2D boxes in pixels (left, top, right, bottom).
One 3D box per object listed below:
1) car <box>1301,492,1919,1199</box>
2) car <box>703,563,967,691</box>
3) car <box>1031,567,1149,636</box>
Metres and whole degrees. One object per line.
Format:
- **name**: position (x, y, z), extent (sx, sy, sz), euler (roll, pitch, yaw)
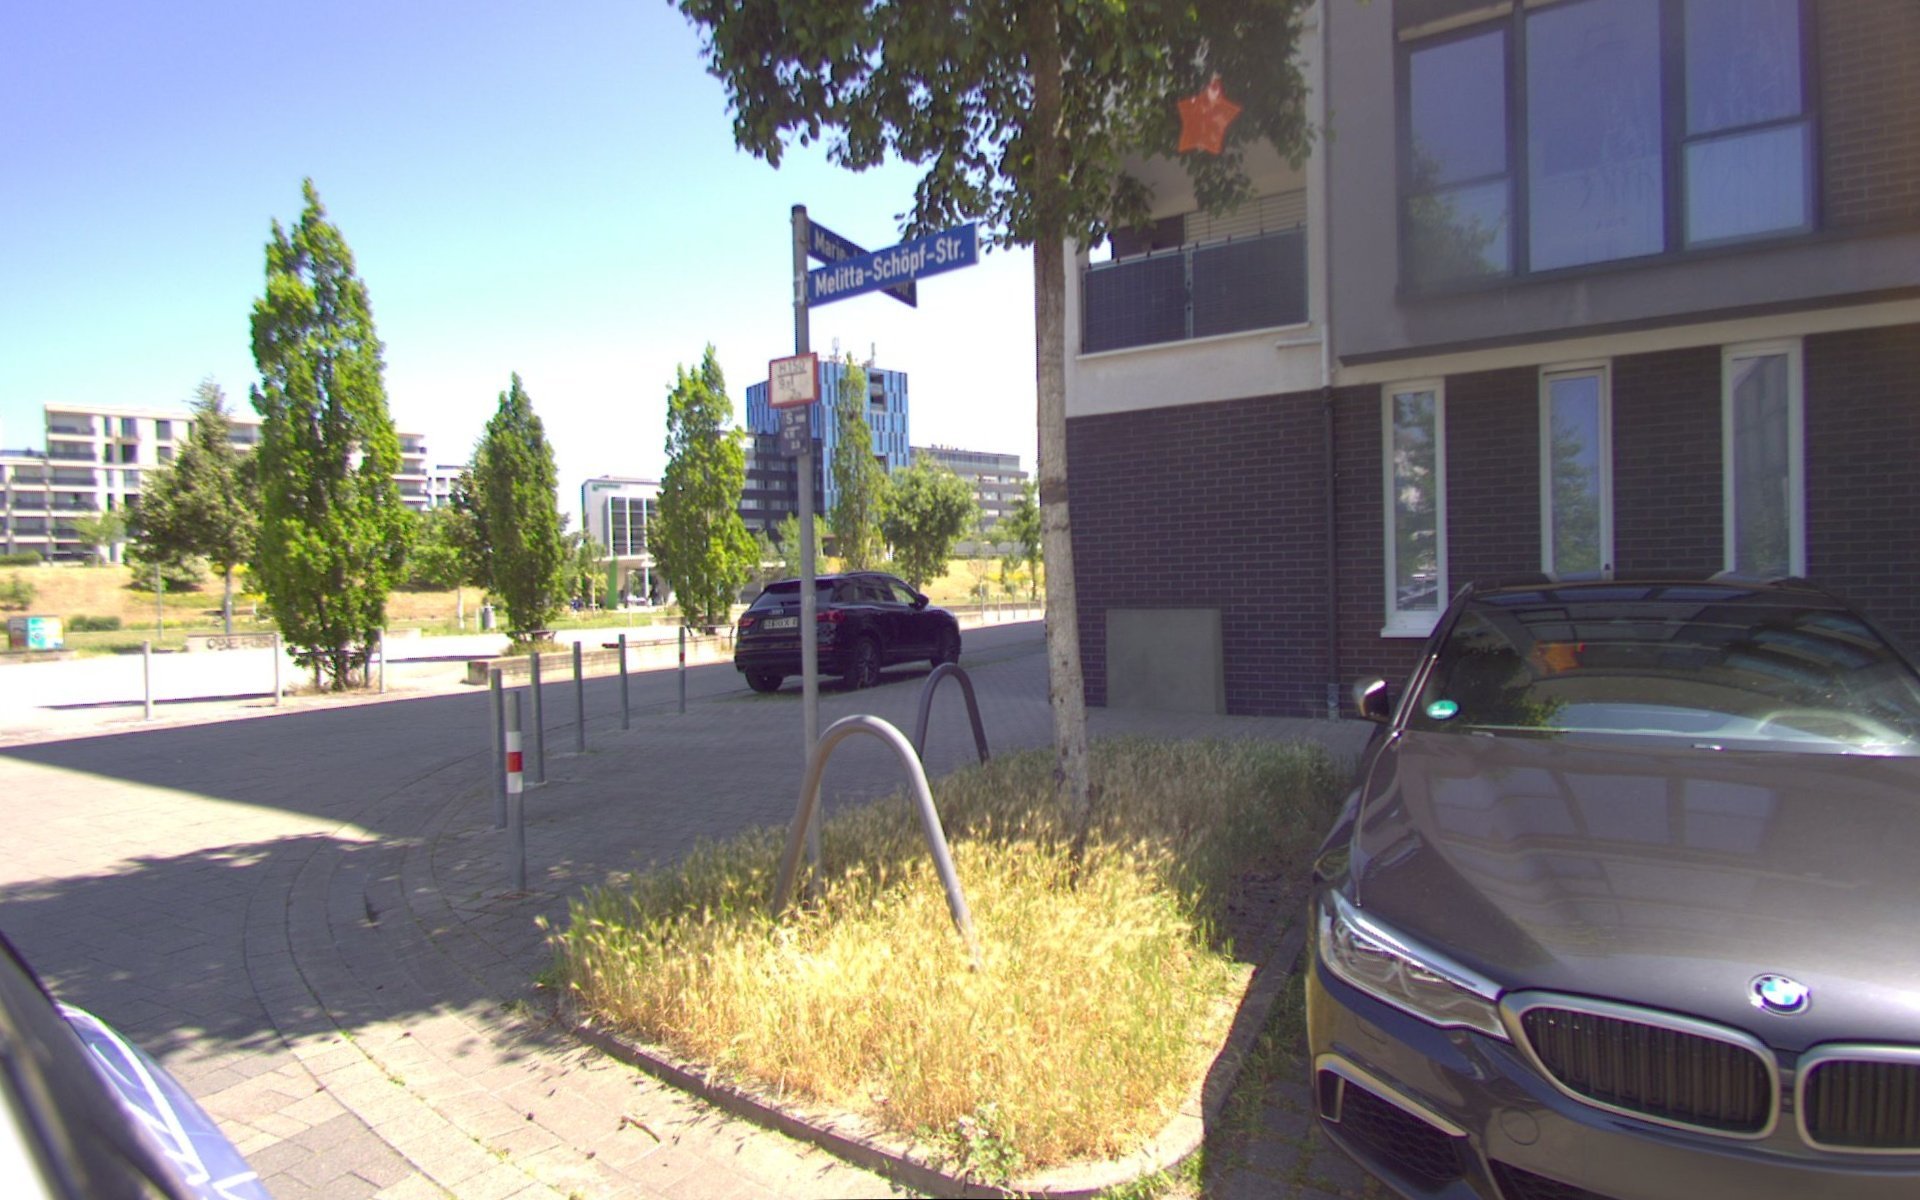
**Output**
- **car**: position (2.686, 0.509, 3.840), extent (1.918, 1.496, 5.069), euler (-1, 1, 27)
- **car**: position (-1.595, 0.319, 14.646), extent (1.768, 1.531, 4.362), euler (-3, 0, 24)
- **car**: position (3.338, 0.004, 25.282), extent (1.777, 1.516, 4.081), euler (-4, 0, 24)
